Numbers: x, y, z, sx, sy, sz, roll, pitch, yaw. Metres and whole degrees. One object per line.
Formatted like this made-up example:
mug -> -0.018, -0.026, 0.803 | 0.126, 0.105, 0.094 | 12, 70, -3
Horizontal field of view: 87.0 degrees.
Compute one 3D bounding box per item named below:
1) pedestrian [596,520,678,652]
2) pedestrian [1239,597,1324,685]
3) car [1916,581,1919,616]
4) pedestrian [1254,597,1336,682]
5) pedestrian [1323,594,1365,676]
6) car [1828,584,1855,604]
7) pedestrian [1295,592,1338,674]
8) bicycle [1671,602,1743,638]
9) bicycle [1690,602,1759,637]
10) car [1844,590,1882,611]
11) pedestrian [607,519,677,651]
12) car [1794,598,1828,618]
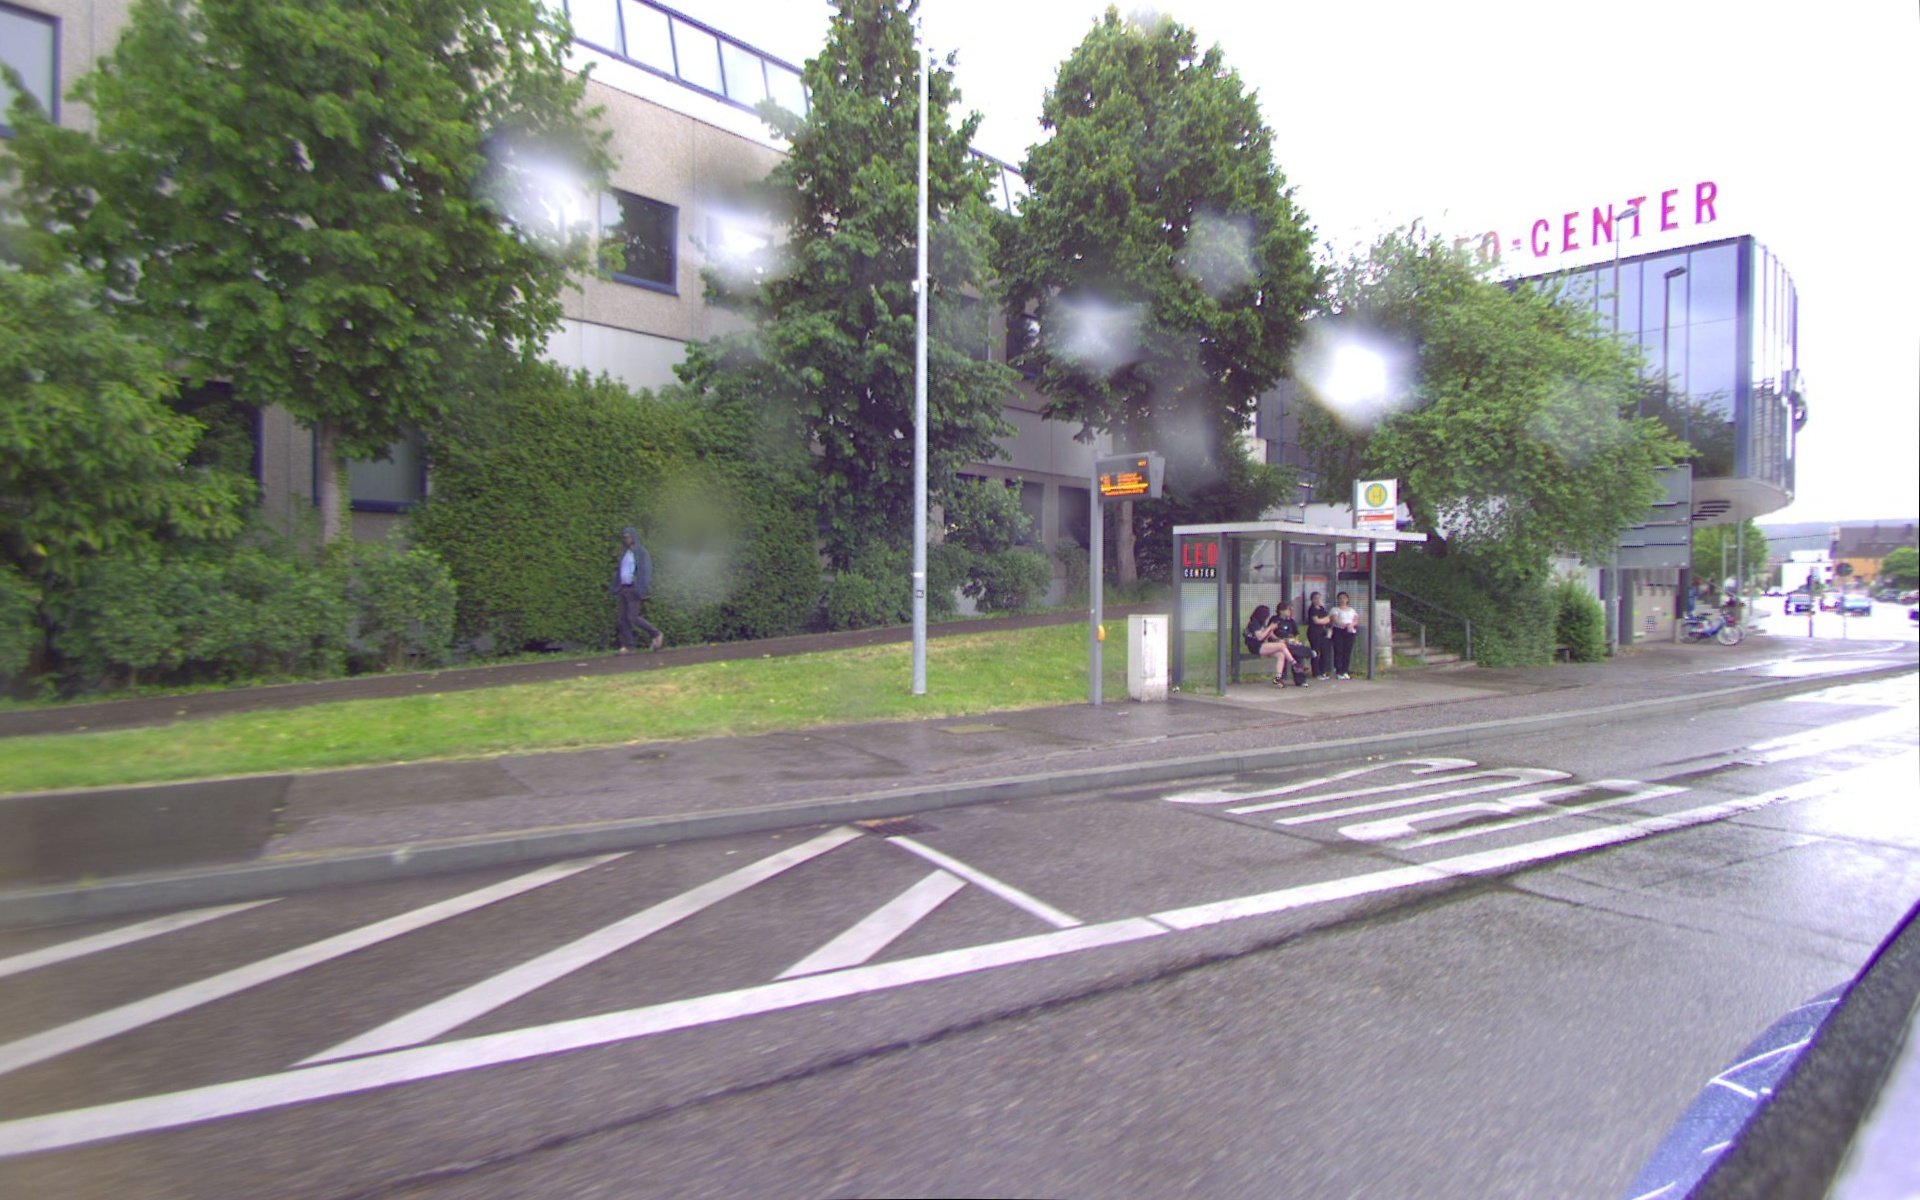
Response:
pedestrian -> -4.651, -0.207, 14.567 | 0.783, 1.818, 0.848 | -3, 2, -43
pedestrian -> 5.071, 0.624, 15.970 | 0.680, 1.297, 1.031 | 1, 2, -42
car -> 57.733, -0.084, 57.599 | 4.568, 2.039, 1.975 | 0, 0, 35
pedestrian -> 5.486, 0.622, 16.604 | 0.680, 1.297, 1.031 | 1, 2, -42
pedestrian -> 6.693, 0.606, 17.655 | 0.533, 1.382, 0.411 | 2, 1, 2
car -> 73.350, -0.482, 84.262 | 1.576, 1.661, 3.589 | 0, 0, 39
pedestrian -> 6.162, 0.560, 17.510 | 0.533, 1.382, 0.411 | 2, 1, 1
bicycle -> 24.743, 0.659, 33.538 | 0.673, 1.098, 1.804 | 2, 1, -42
bicycle -> 26.908, 0.658, 35.626 | 0.682, 1.124, 1.832 | -1, 2, -42
car -> 67.419, 0.043, 75.569 | 1.892, 1.545, 3.944 | 0, 0, 39
pedestrian -> -4.518, -0.226, 14.382 | 0.663, 1.819, 0.672 | -4, 2, -45
car -> 65.660, 0.607, 78.153 | 1.892, 1.545, 3.944 | 0, 0, 39
